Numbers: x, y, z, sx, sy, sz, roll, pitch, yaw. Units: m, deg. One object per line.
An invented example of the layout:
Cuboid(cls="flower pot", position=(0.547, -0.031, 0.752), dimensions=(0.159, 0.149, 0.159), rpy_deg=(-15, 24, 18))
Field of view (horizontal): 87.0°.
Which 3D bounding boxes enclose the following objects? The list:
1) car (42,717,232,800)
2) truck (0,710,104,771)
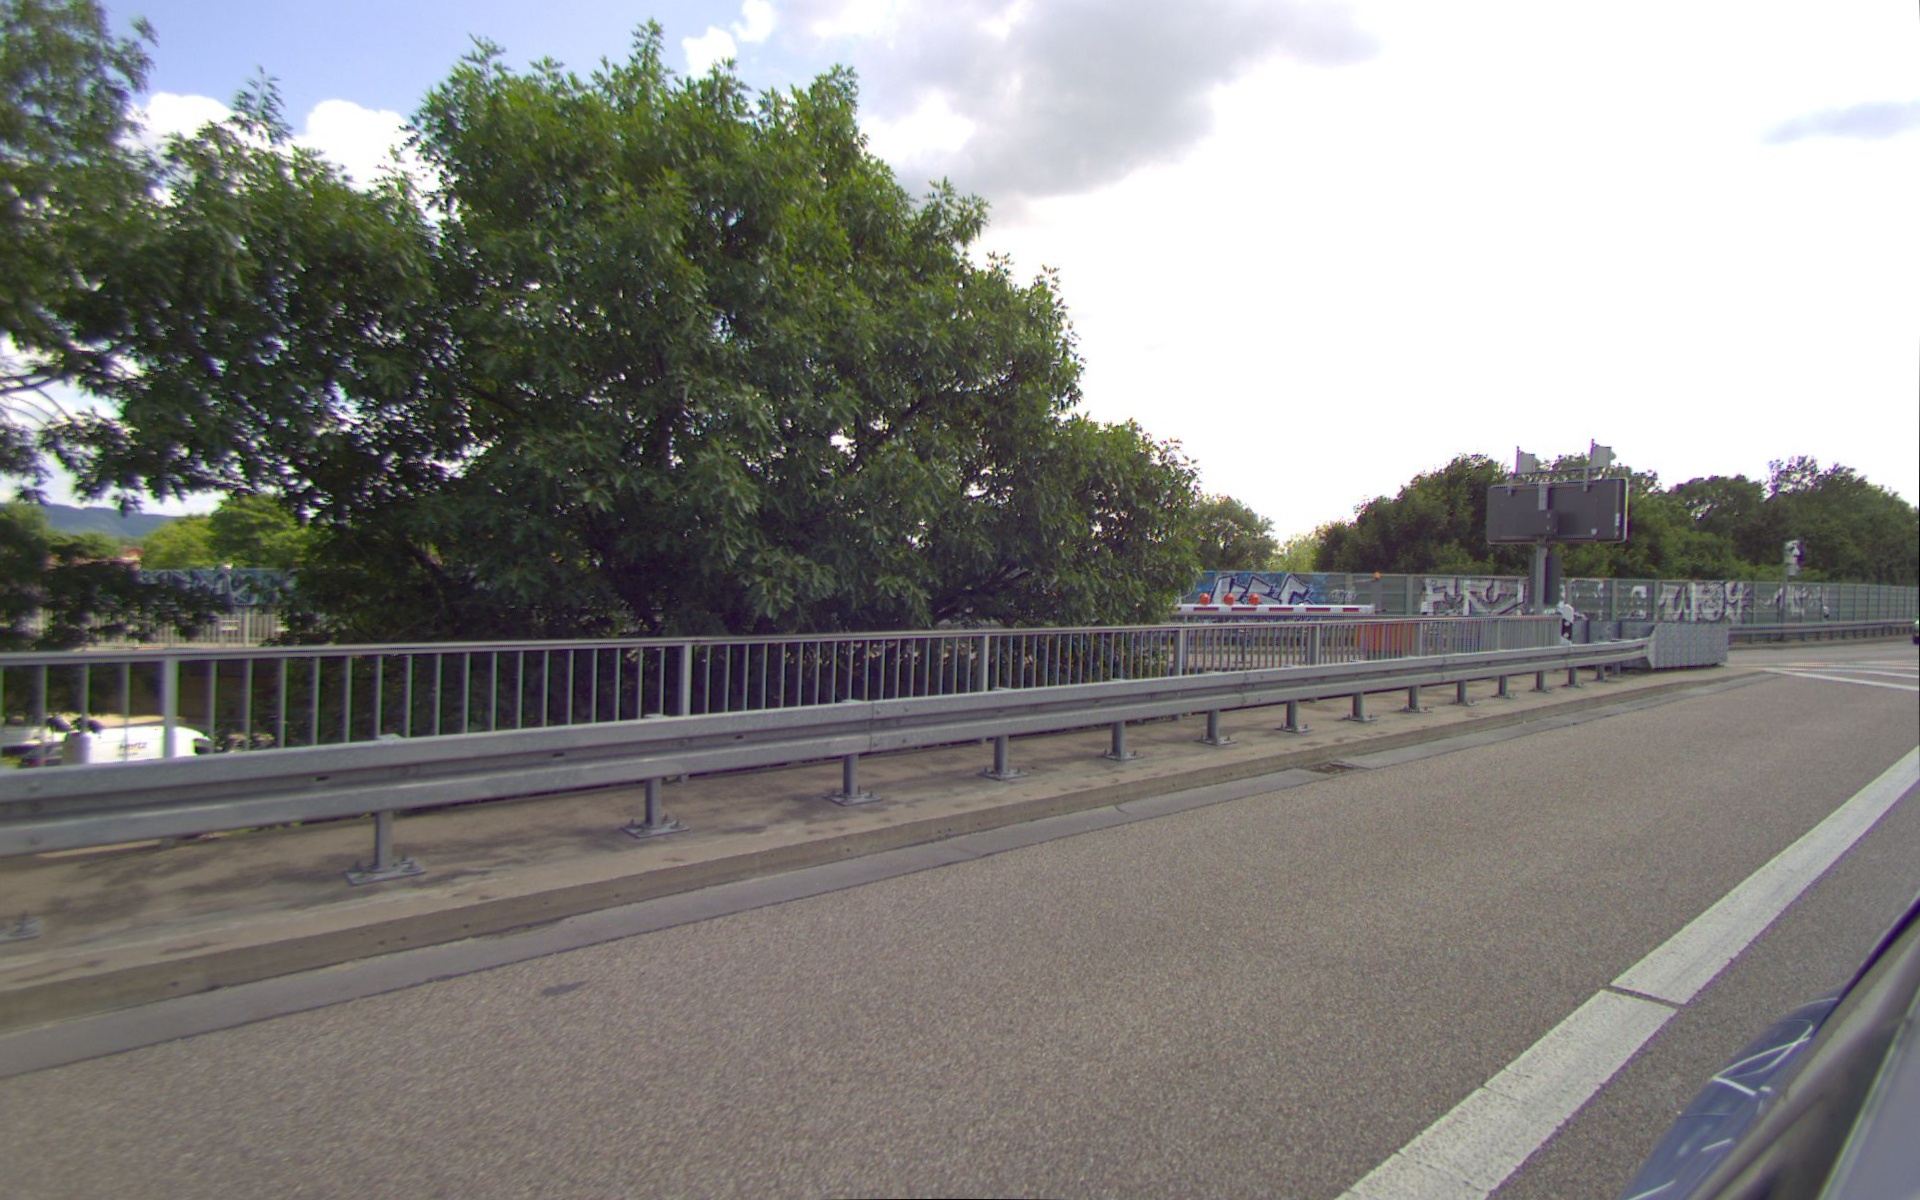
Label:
Cuboid(cls="car", position=(-32.573, 6.183, 40.307), dimensions=(2.205, 2.344, 5.536), rpy_deg=(0, 0, 22))
Cuboid(cls="truck", position=(-42.525, 6.361, 45.428), dimensions=(2.410, 2.160, 5.854), rpy_deg=(0, 0, 22))
